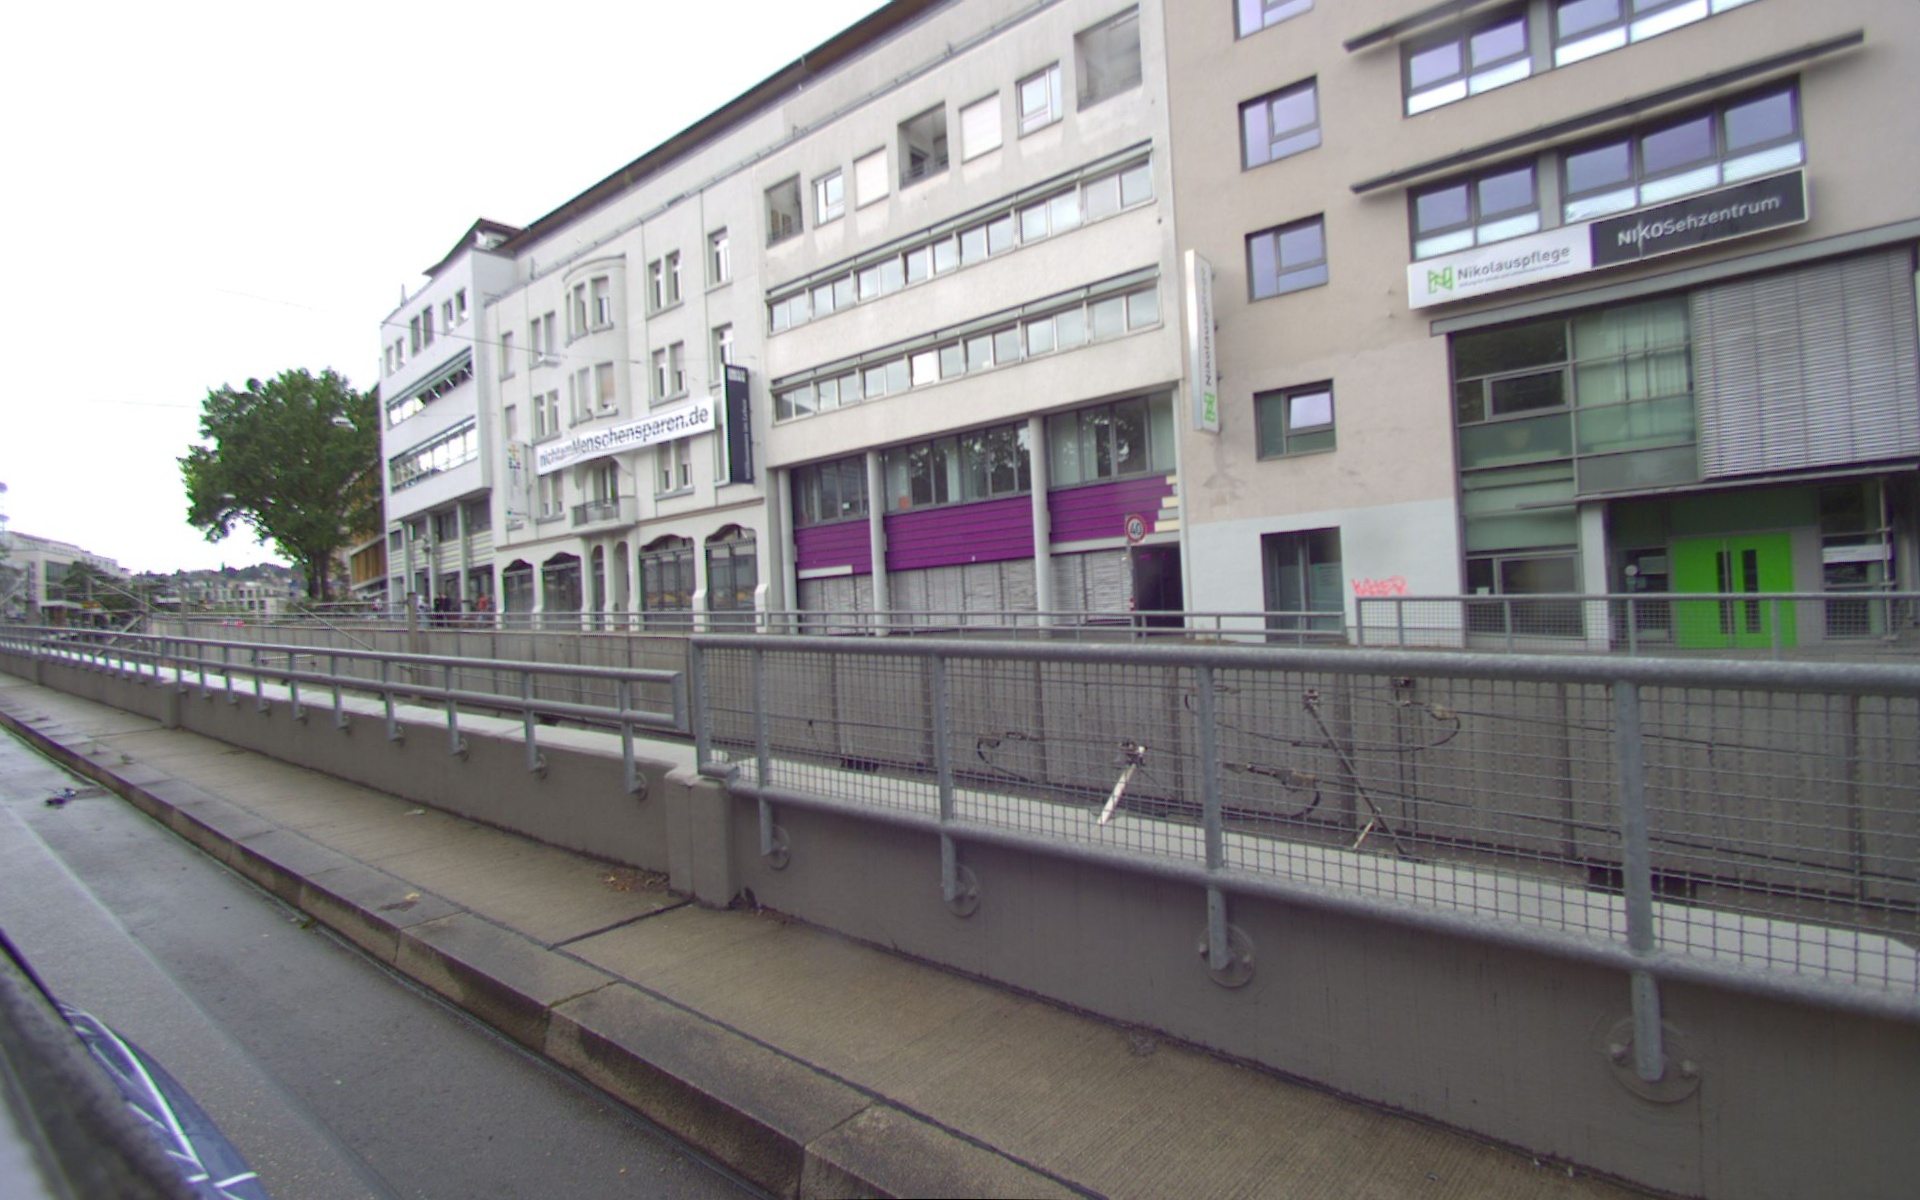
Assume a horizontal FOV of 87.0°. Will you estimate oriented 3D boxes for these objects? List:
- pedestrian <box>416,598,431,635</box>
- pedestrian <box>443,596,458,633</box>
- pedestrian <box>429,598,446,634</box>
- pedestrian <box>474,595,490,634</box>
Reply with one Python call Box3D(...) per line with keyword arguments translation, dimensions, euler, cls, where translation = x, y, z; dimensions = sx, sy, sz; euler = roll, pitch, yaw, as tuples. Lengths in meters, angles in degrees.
Box3D(translation=(-26.735, 0.823, 50.435), dimensions=(0.463, 1.816, 0.548), euler=(-3, 1, -42), cls="pedestrian")
Box3D(translation=(-25.415, 0.706, 50.473), dimensions=(0.547, 1.816, 0.463), euler=(-2, 1, 44), cls="pedestrian")
Box3D(translation=(-26.429, 0.808, 51.221), dimensions=(0.469, 1.816, 0.541), euler=(-2, 1, 33), cls="pedestrian")
Box3D(translation=(-23.024, 0.704, 48.751), dimensions=(0.547, 1.816, 0.464), euler=(-2, 1, 40), cls="pedestrian")
